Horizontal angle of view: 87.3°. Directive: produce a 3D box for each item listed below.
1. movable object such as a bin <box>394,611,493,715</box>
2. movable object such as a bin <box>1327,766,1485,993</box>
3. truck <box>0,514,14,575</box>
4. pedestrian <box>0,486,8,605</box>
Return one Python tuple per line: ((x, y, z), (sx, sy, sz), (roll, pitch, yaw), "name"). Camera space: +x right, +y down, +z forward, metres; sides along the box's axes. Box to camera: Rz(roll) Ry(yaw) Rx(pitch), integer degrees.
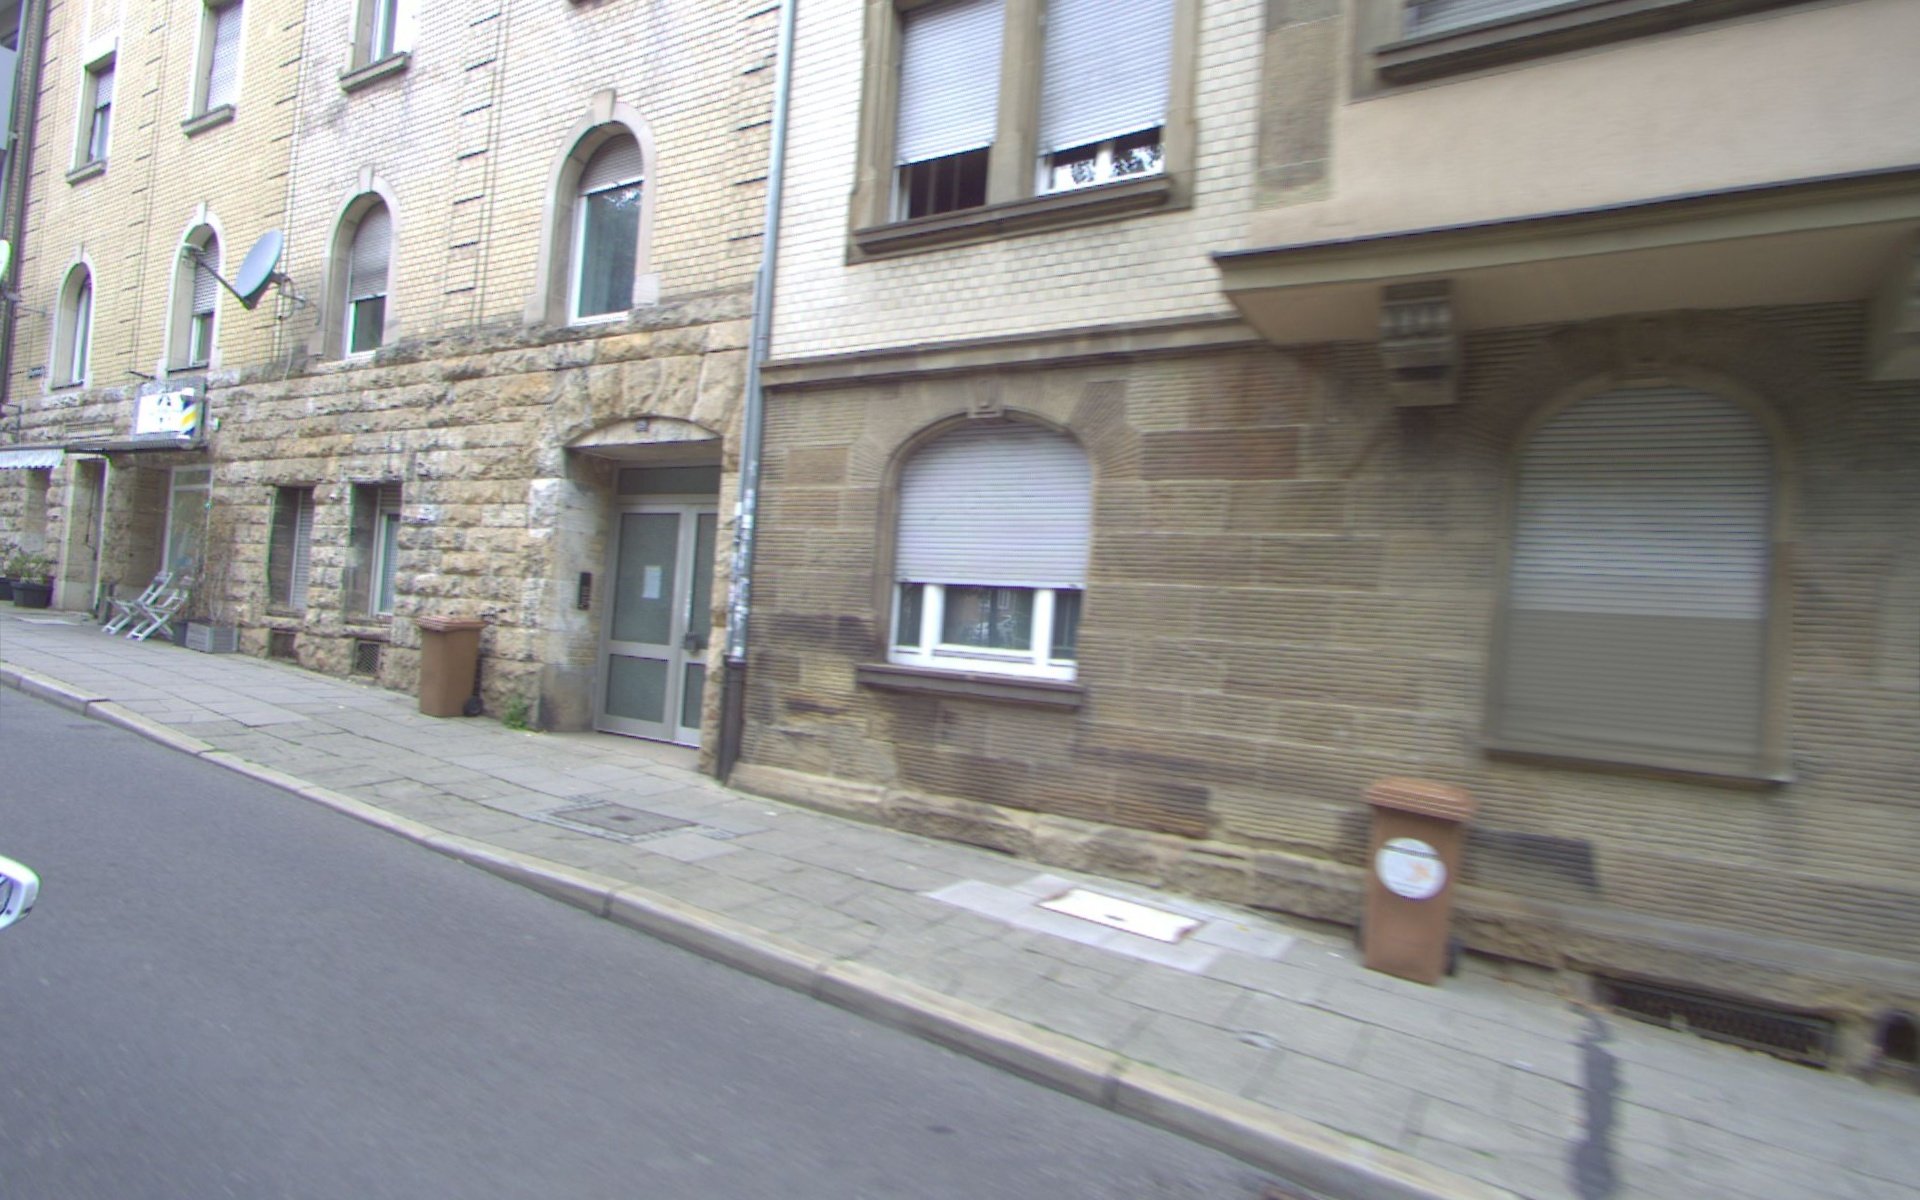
((-4.831, 0.595, 9.421), (0.495, 0.914, 0.595), (2, -3, 32), "movable object such as a bin")
((2.211, 1.334, 4.968), (0.553, 0.914, 0.595), (6, -1, 32), "movable object such as a bin")
((-36.808, -2.400, 34.591), (2.337, 2.155, 5.586), (6, -4, 20), "truck")
((-14.284, -0.821, 14.365), (0.844, 1.714, 0.751), (4, 1, 31), "pedestrian")
